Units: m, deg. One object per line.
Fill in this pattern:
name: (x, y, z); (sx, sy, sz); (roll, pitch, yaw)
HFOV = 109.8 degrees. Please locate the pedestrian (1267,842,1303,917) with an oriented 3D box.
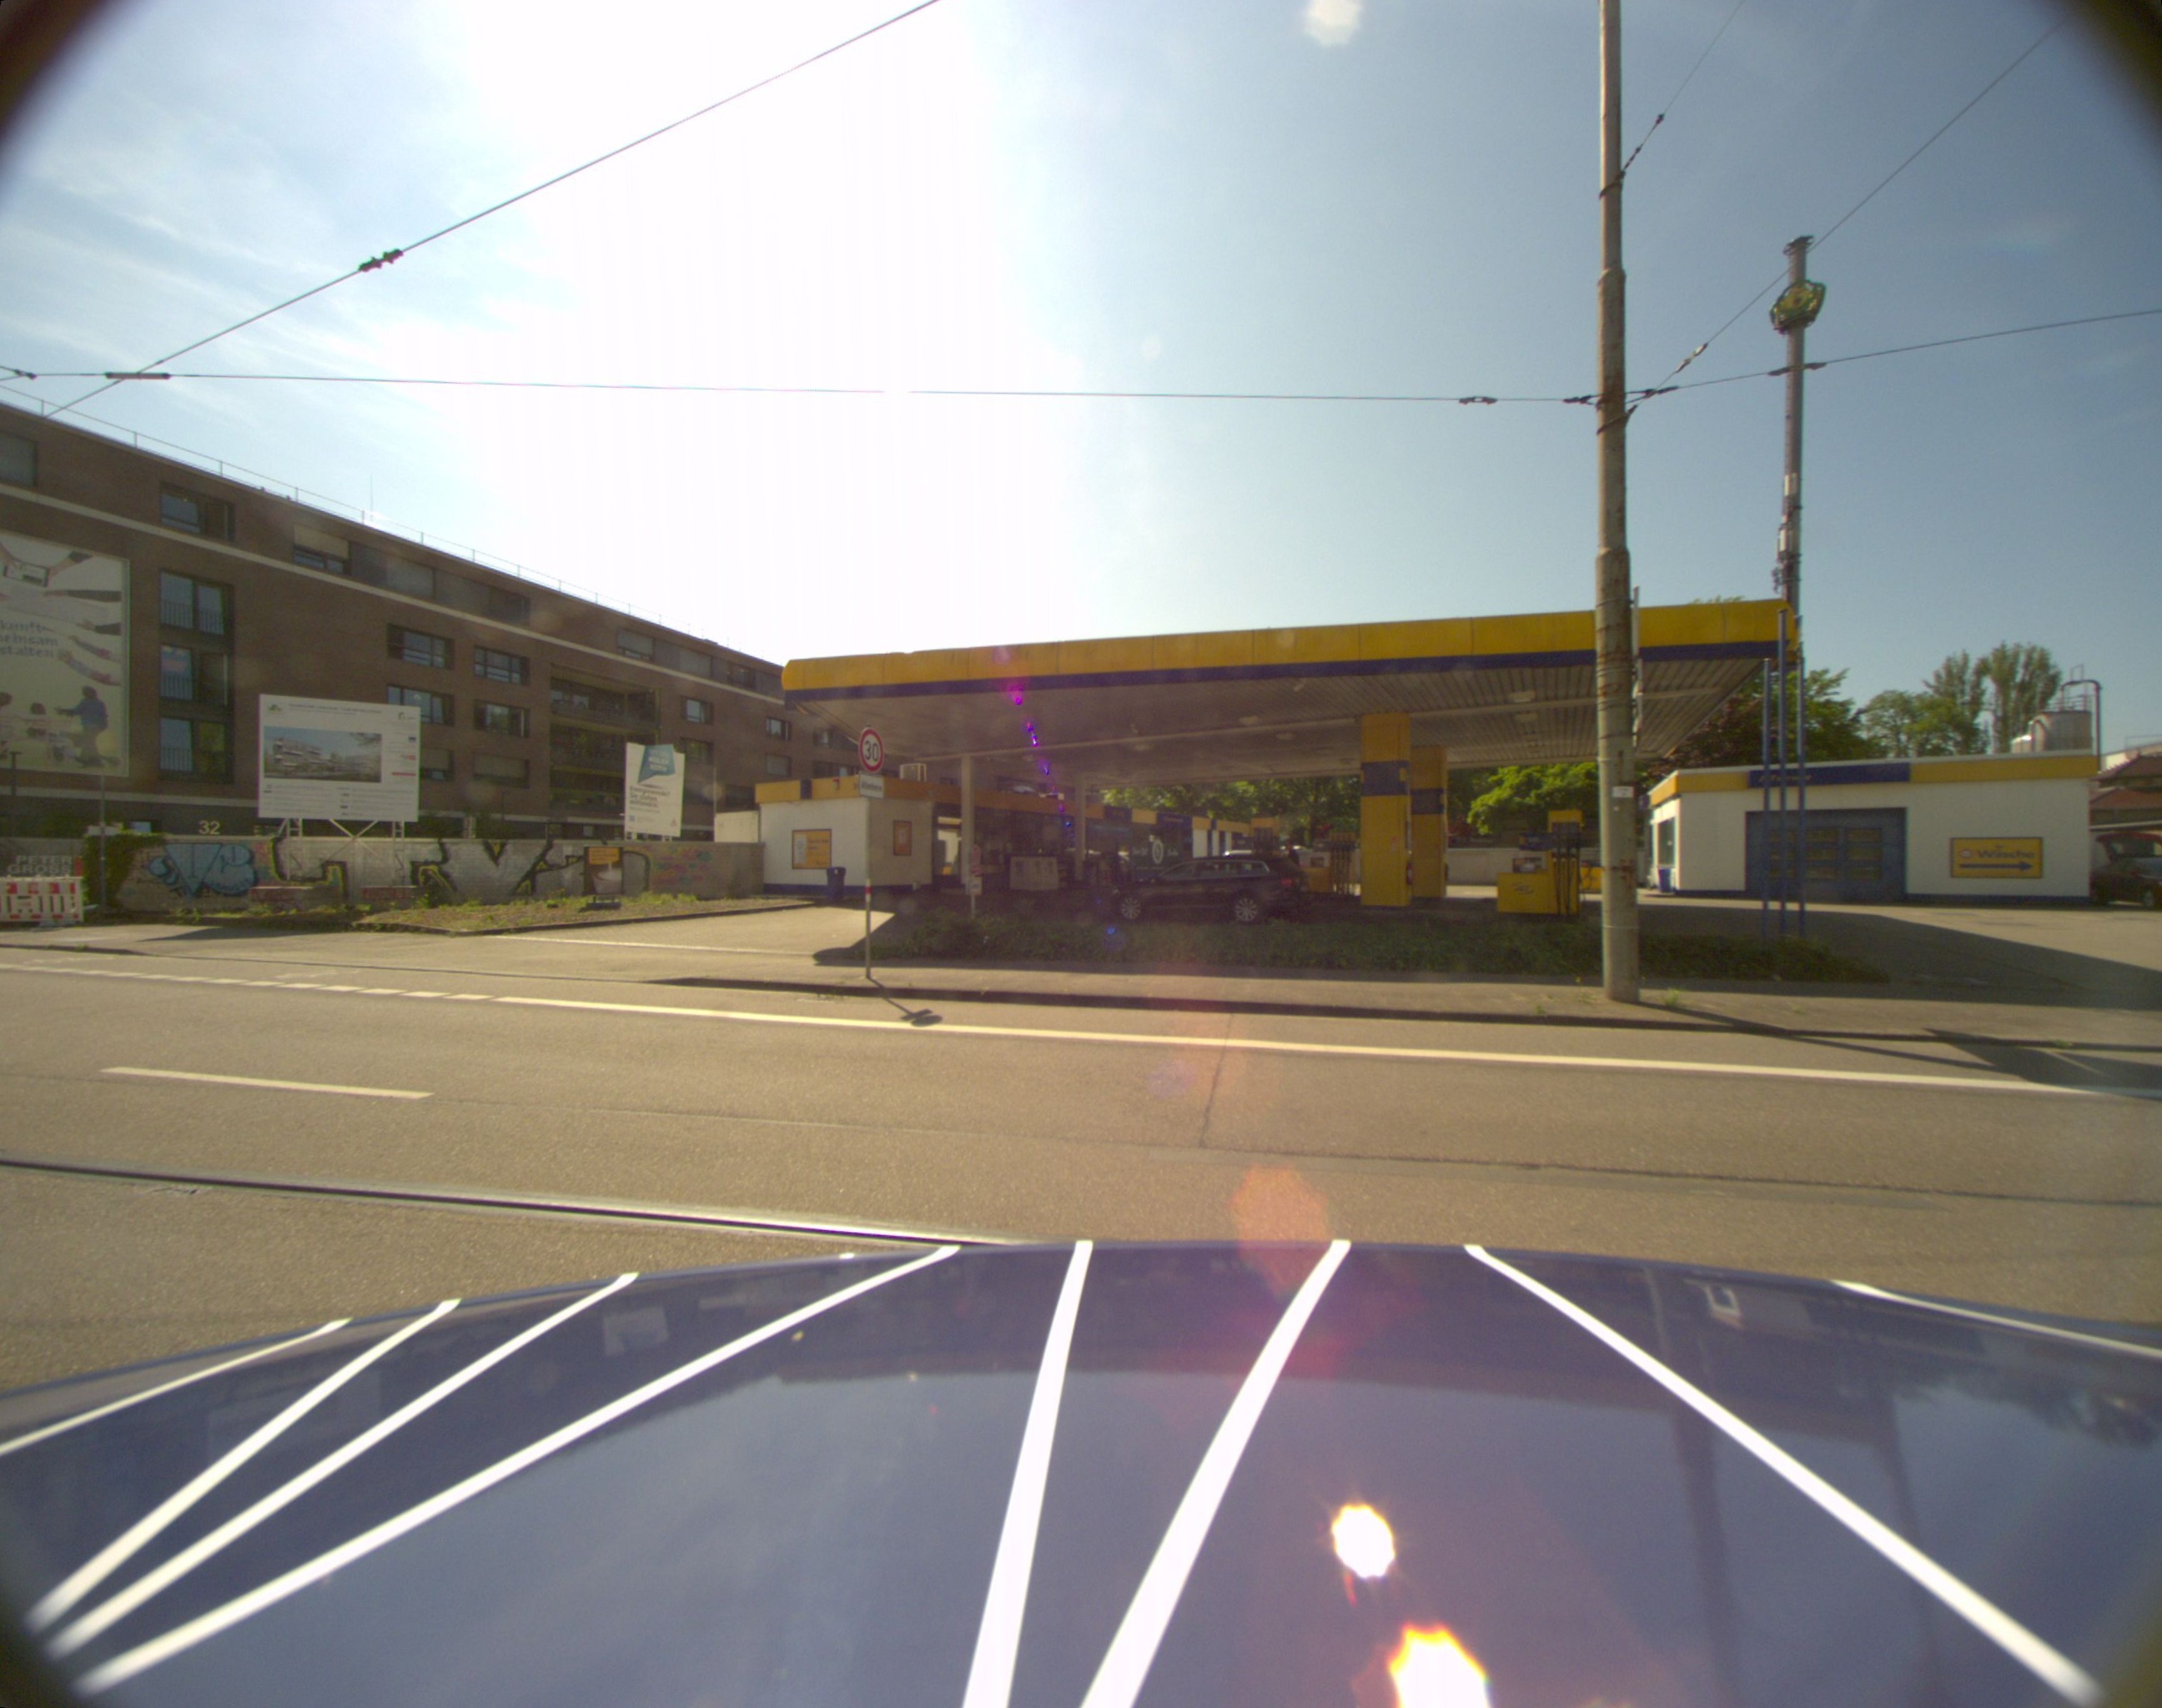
pedestrian: (4.742, 0.580, 17.678); (0.744, 1.715, 0.859); (0, 0, 11)

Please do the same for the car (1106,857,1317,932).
car: (2.950, 0.864, 17.447); (4.397, 1.447, 1.764); (-1, 2, 31)

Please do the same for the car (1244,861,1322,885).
car: (11.918, 1.097, 44.779); (4.121, 1.352, 1.765); (0, 0, 30)

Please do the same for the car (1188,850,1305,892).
car: (8.072, 0.789, 37.244); (5.293, 1.971, 1.765); (0, 0, 28)

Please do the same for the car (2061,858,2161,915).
car: (30.380, 0.858, 21.492); (1.887, 1.451, 4.566); (-2, -1, 34)
